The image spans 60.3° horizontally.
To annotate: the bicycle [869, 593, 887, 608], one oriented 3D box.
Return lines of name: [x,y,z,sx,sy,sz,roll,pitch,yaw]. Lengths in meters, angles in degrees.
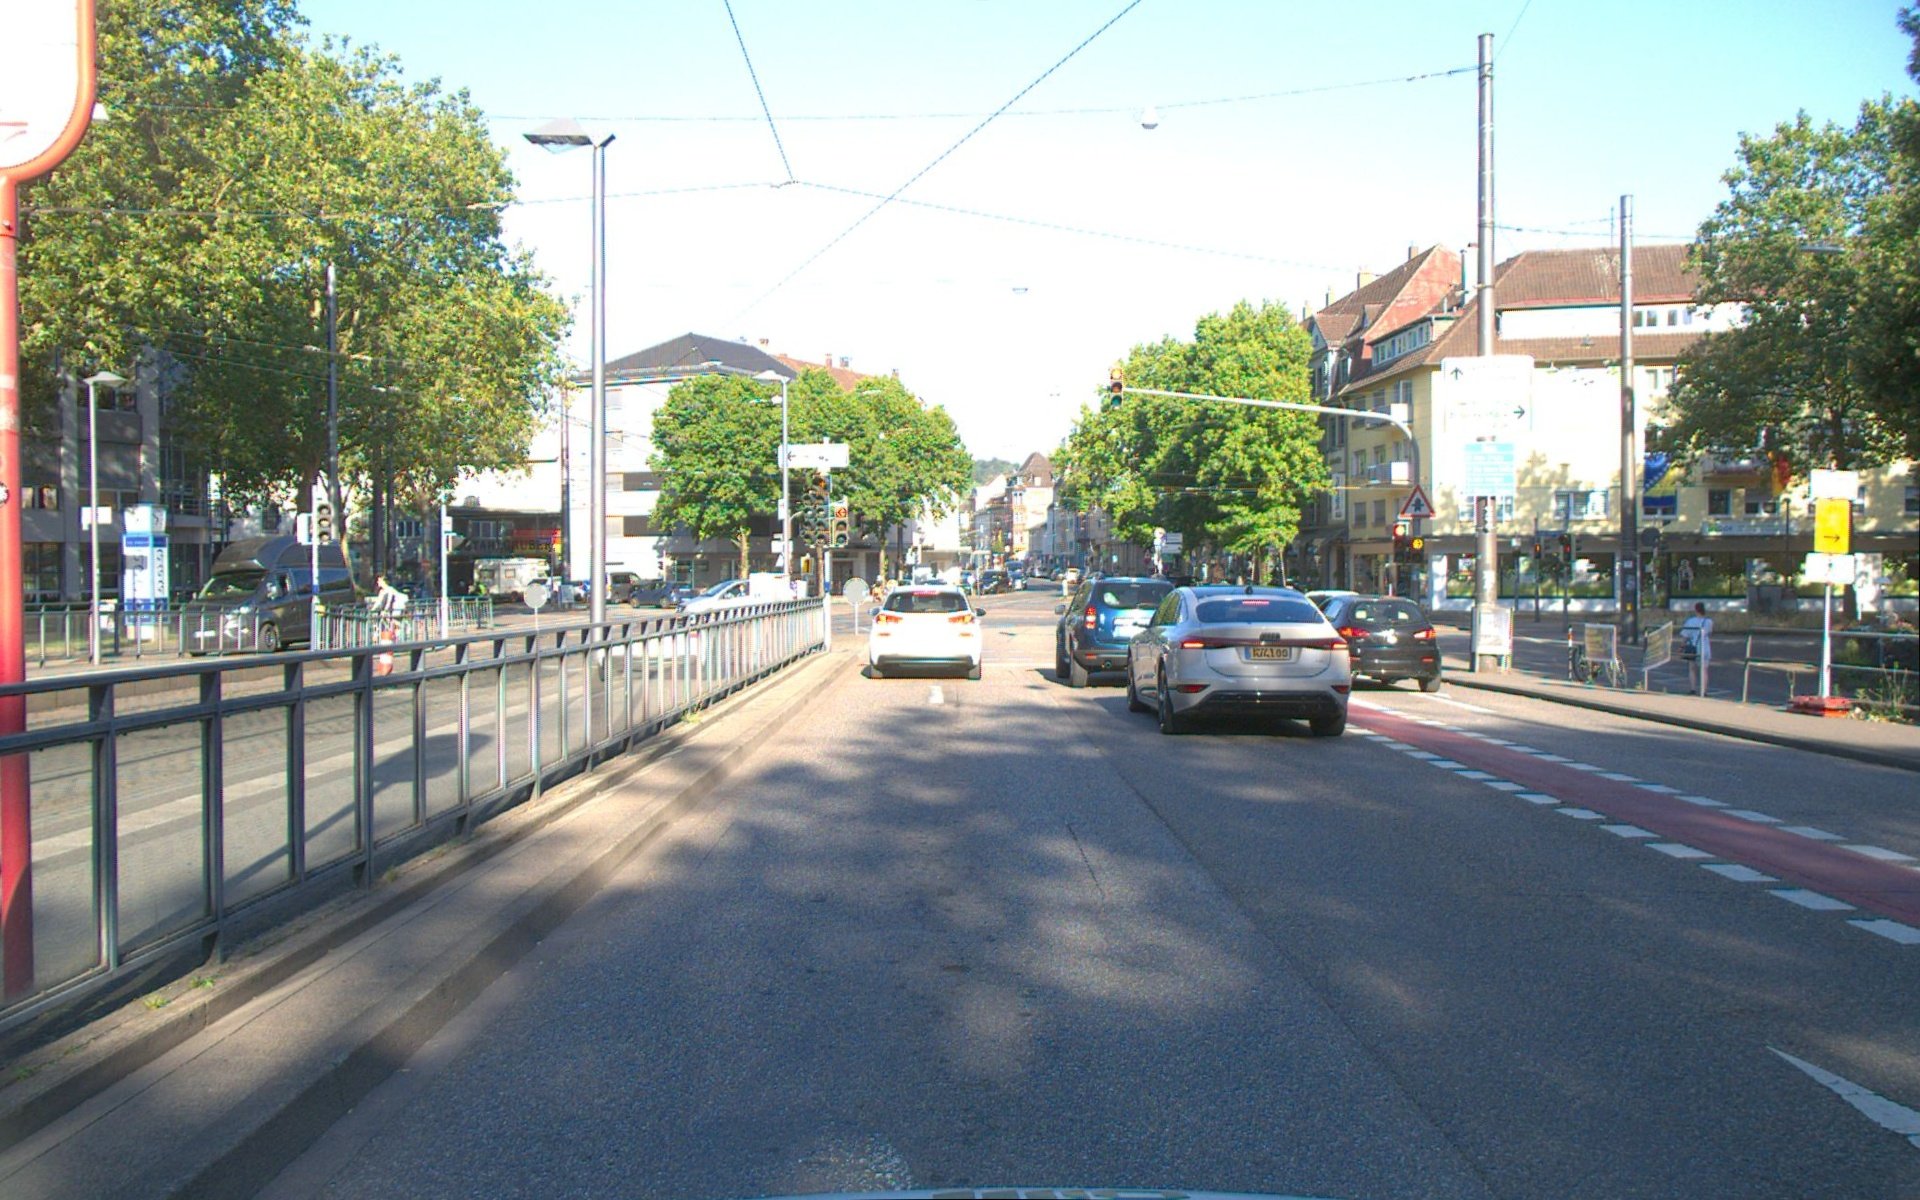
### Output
bicycle: [-5.417,-0.003,109.483,0.458,0.973,1.767,0,1,22]

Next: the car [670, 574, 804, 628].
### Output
car: [-7.420,0.036,55.001,4.093,1.722,1.807,0,0,-25]

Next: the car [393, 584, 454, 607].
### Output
car: [-36.507,-0.321,112.633,1.758,1.536,3.999,0,1,23]

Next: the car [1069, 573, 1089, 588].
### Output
car: [12.828,-2.123,178.373,1.758,1.536,3.999,0,1,-1]

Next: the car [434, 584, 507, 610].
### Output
car: [-29.562,-0.181,99.861,3.904,1.536,1.800,0,0,20]

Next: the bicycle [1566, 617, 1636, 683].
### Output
bicycle: [11.049,0.844,28.546,0.488,1.093,1.800,1,0,-1]

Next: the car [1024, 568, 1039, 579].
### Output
car: [10.125,-3.799,234.216,1.758,1.536,3.999,0,1,-1]

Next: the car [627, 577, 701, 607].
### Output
car: [-15.730,-0.427,87.940,3.925,1.536,1.791,1,0,39]

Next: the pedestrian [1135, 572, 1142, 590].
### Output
pedestrian: [17.612,-1.874,163.228,0.634,1.680,0.651,1,-1,10]

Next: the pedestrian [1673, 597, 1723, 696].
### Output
pedestrian: [12.298,0.768,27.559,0.634,1.590,0.632,2,0,18]

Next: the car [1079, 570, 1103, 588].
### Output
car: [13.601,-2.197,171.856,2.062,1.807,4.340,0,1,-1]

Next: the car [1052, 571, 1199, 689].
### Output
car: [2.459,0.405,25.393,1.764,1.666,4.044,0,1,-1]

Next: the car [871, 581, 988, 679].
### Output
car: [-0.509,0.444,27.204,1.771,1.478,3.999,0,0,-1]

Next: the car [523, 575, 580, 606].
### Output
car: [-26.730,-0.663,108.312,1.756,1.990,4.002,0,1,18]

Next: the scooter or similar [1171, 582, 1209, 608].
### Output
scooter or similar: [11.623,-0.269,83.714,1.915,1.303,0.550,0,0,41]

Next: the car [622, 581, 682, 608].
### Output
car: [-19.510,-0.357,104.792,1.881,1.677,4.181,0,1,20]

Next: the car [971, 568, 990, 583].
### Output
car: [2.157,-2.547,172.970,1.758,1.536,3.999,0,1,-2]

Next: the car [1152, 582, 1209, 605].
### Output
car: [15.232,-0.435,114.083,3.967,1.536,1.772,-1,1,-43]

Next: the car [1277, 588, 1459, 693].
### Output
car: [6.265,0.571,25.841,1.763,1.464,4.044,1,1,-1]

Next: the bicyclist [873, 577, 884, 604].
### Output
bicyclist: [-5.417,-0.608,109.482,0.458,1.775,0.717,0,0,22]

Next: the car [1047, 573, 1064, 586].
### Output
car: [11.754,-2.484,203.755,1.758,1.549,3.999,0,1,-1]

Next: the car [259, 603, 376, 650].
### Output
car: [-16.850,0.691,43.518,2.026,1.183,2.910,1,0,-3]

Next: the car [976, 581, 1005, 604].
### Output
car: [2.503,-0.594,135.452,1.756,1.858,4.004,0,1,9]

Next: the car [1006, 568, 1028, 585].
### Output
car: [5.138,-2.133,150.101,1.758,1.536,3.999,0,1,-2]

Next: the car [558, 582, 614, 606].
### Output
car: [-24.268,-0.427,107.448,1.756,1.536,4.012,0,1,18]

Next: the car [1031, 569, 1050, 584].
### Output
car: [11.128,-3.299,228.764,2.280,2.049,4.975,0,1,-1]

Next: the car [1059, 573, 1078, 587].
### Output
car: [12.081,-2.199,184.523,1.758,1.536,3.999,0,1,-1]

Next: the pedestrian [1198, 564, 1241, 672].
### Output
pedestrian: [4.629,0.316,29.559,0.643,1.903,0.677,0,0,-1]

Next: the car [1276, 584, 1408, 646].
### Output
car: [10.381,0.380,44.827,1.769,1.536,3.975,2,2,42]

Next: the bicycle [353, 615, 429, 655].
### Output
bicycle: [-12.533,0.755,36.465,0.516,0.830,1.611,0,1,34]

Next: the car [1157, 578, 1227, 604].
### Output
car: [13.997,-0.527,99.853,3.911,1.536,1.798,0,0,-7]

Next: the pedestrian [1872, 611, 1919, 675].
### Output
pedestrian: [20.412,0.929,36.080,0.635,1.361,0.632,2,0,-1]

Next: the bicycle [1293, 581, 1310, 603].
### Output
bicycle: [17.224,-0.401,83.459,0.596,1.127,1.801,0,1,4]

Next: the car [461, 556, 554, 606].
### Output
car: [-29.812,-1.261,109.262,2.445,3.220,6.535,0,1,22]

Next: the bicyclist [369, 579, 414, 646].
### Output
bicyclist: [-12.533,0.268,36.463,0.516,1.438,0.800,0,0,34]

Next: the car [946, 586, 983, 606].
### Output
car: [0.357,-0.321,127.988,1.756,1.537,4.002,0,0,18]

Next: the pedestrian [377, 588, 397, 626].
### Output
pedestrian: [-25.456,0.305,73.501,0.634,1.690,0.650,0,0,2]

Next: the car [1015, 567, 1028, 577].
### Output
car: [9.378,-4.282,254.033,1.758,1.536,3.999,0,1,-1]

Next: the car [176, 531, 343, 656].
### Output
car: [-16.624,-0.131,39.543,2.026,2.791,5.028,1,0,-3]

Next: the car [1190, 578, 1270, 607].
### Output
car: [14.610,-0.428,89.502,3.913,1.536,1.796,0,0,-9]

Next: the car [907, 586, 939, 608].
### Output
car: [-2.659,-0.200,119.886,1.756,1.537,4.003,0,0,6]

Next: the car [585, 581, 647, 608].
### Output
car: [-21.925,-0.345,105.465,1.760,1.677,4.004,0,1,28]

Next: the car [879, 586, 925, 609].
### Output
car: [-3.959,-0.163,113.876,1.689,1.537,3.874,0,0,24]

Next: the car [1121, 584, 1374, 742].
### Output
car: [2.983,0.583,18.230,1.890,1.498,4.854,0,1,-1]
